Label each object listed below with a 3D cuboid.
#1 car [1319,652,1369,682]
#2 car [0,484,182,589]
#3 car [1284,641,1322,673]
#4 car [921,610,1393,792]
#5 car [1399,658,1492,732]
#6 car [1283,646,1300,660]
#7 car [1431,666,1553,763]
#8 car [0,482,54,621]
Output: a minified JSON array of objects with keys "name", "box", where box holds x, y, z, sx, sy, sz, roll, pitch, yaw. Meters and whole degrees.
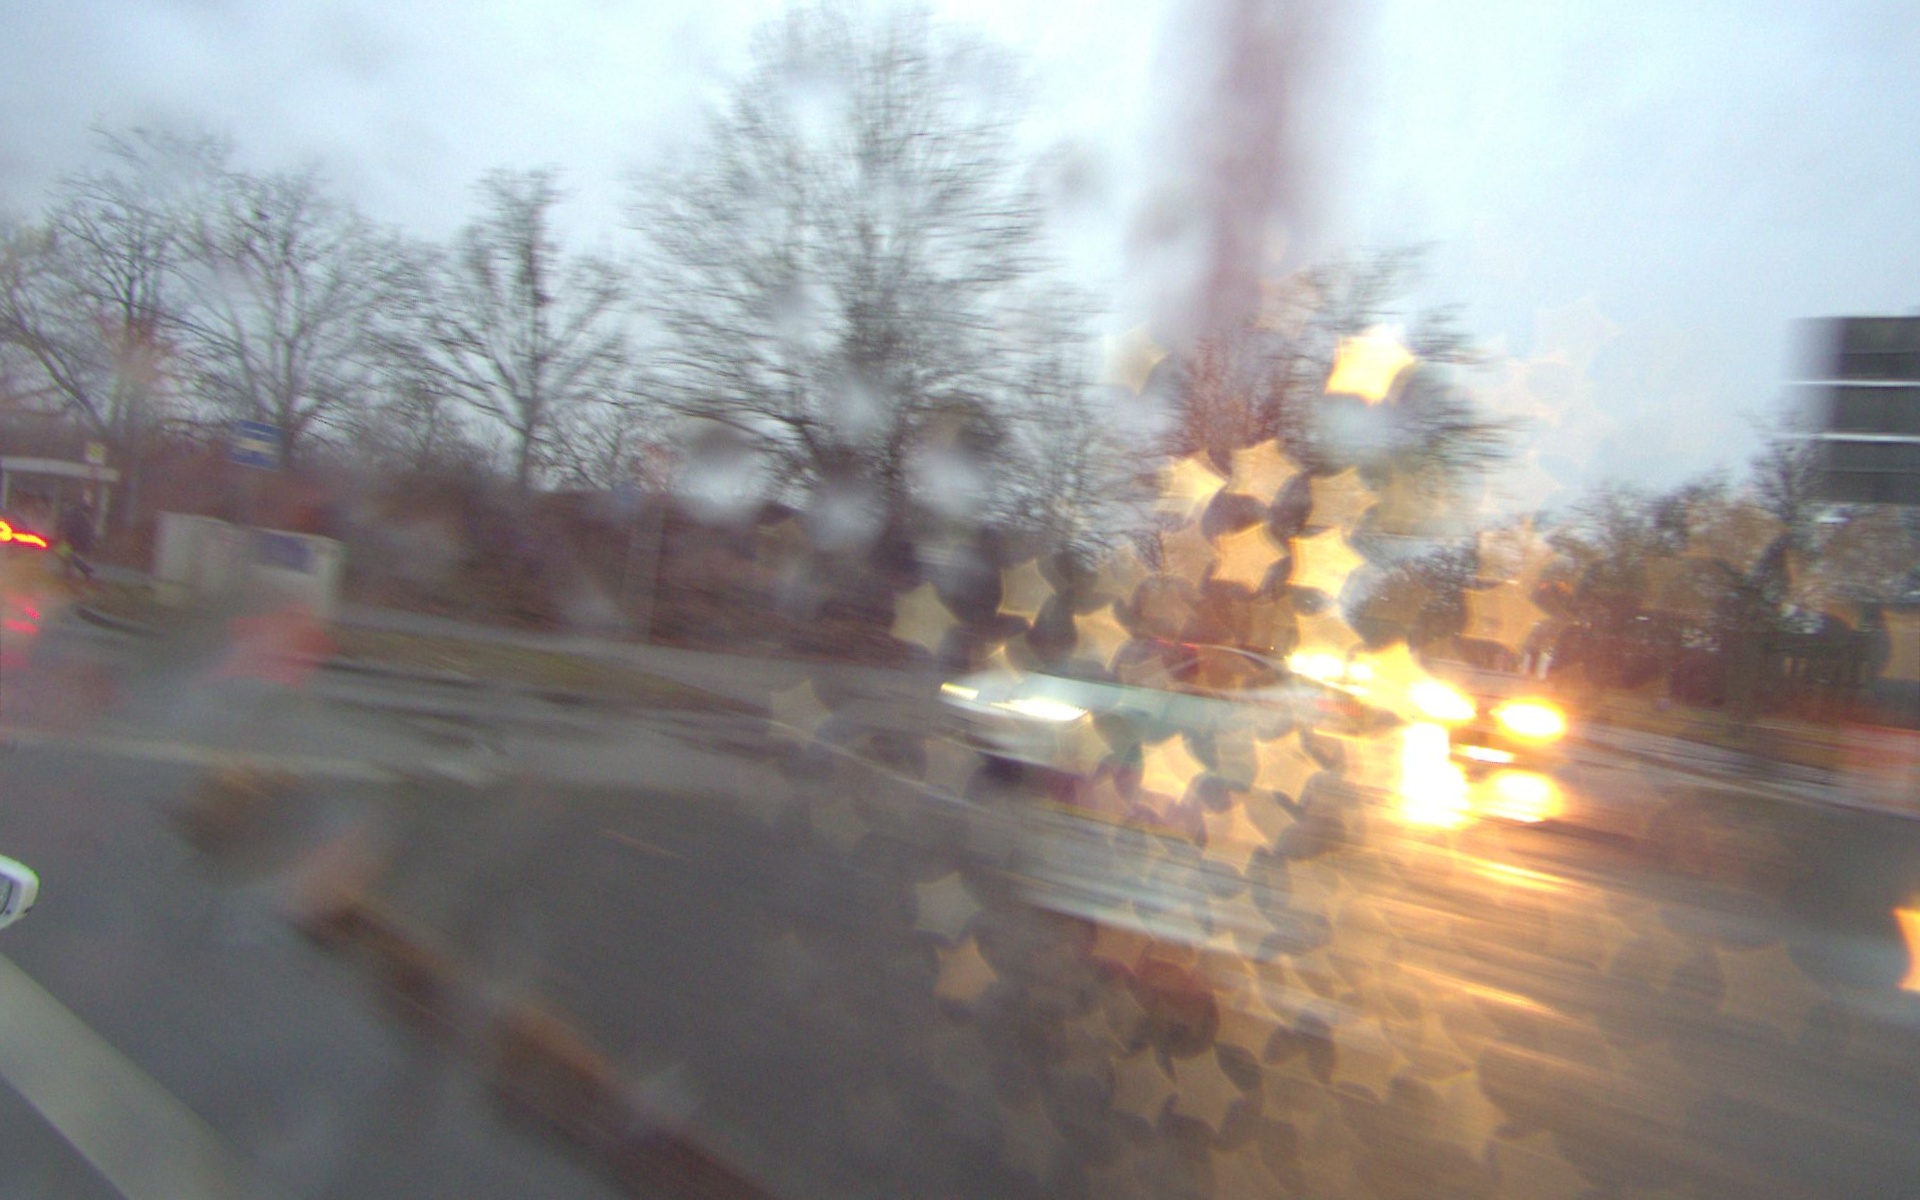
[{"name":"car","box":[19.924,3.462,52.362,1.962,1.258,4.001,7,0,17]},{"name":"car","box":[-17.469,-1.292,19.622,4.470,1.640,1.969,6,1,29]},{"name":"car","box":[25.604,4.275,75.237,1.962,2.037,4.005,7,-2,12]},{"name":"car","box":[2.149,1.089,10.495,4.704,1.393,1.868,7,-1,-31]},{"name":"car","box":[13.234,2.535,27.636,1.627,1.655,3.890,7,0,18]},{"name":"car","box":[36.788,5.872,111.579,1.627,1.361,3.890,7,0,18]},{"name":"car","box":[9.452,1.955,18.058,1.608,1.325,3.996,7,0,26]},{"name":"car","box":[-13.649,-0.835,12.496,4.330,1.638,1.821,6,0,23]}]
